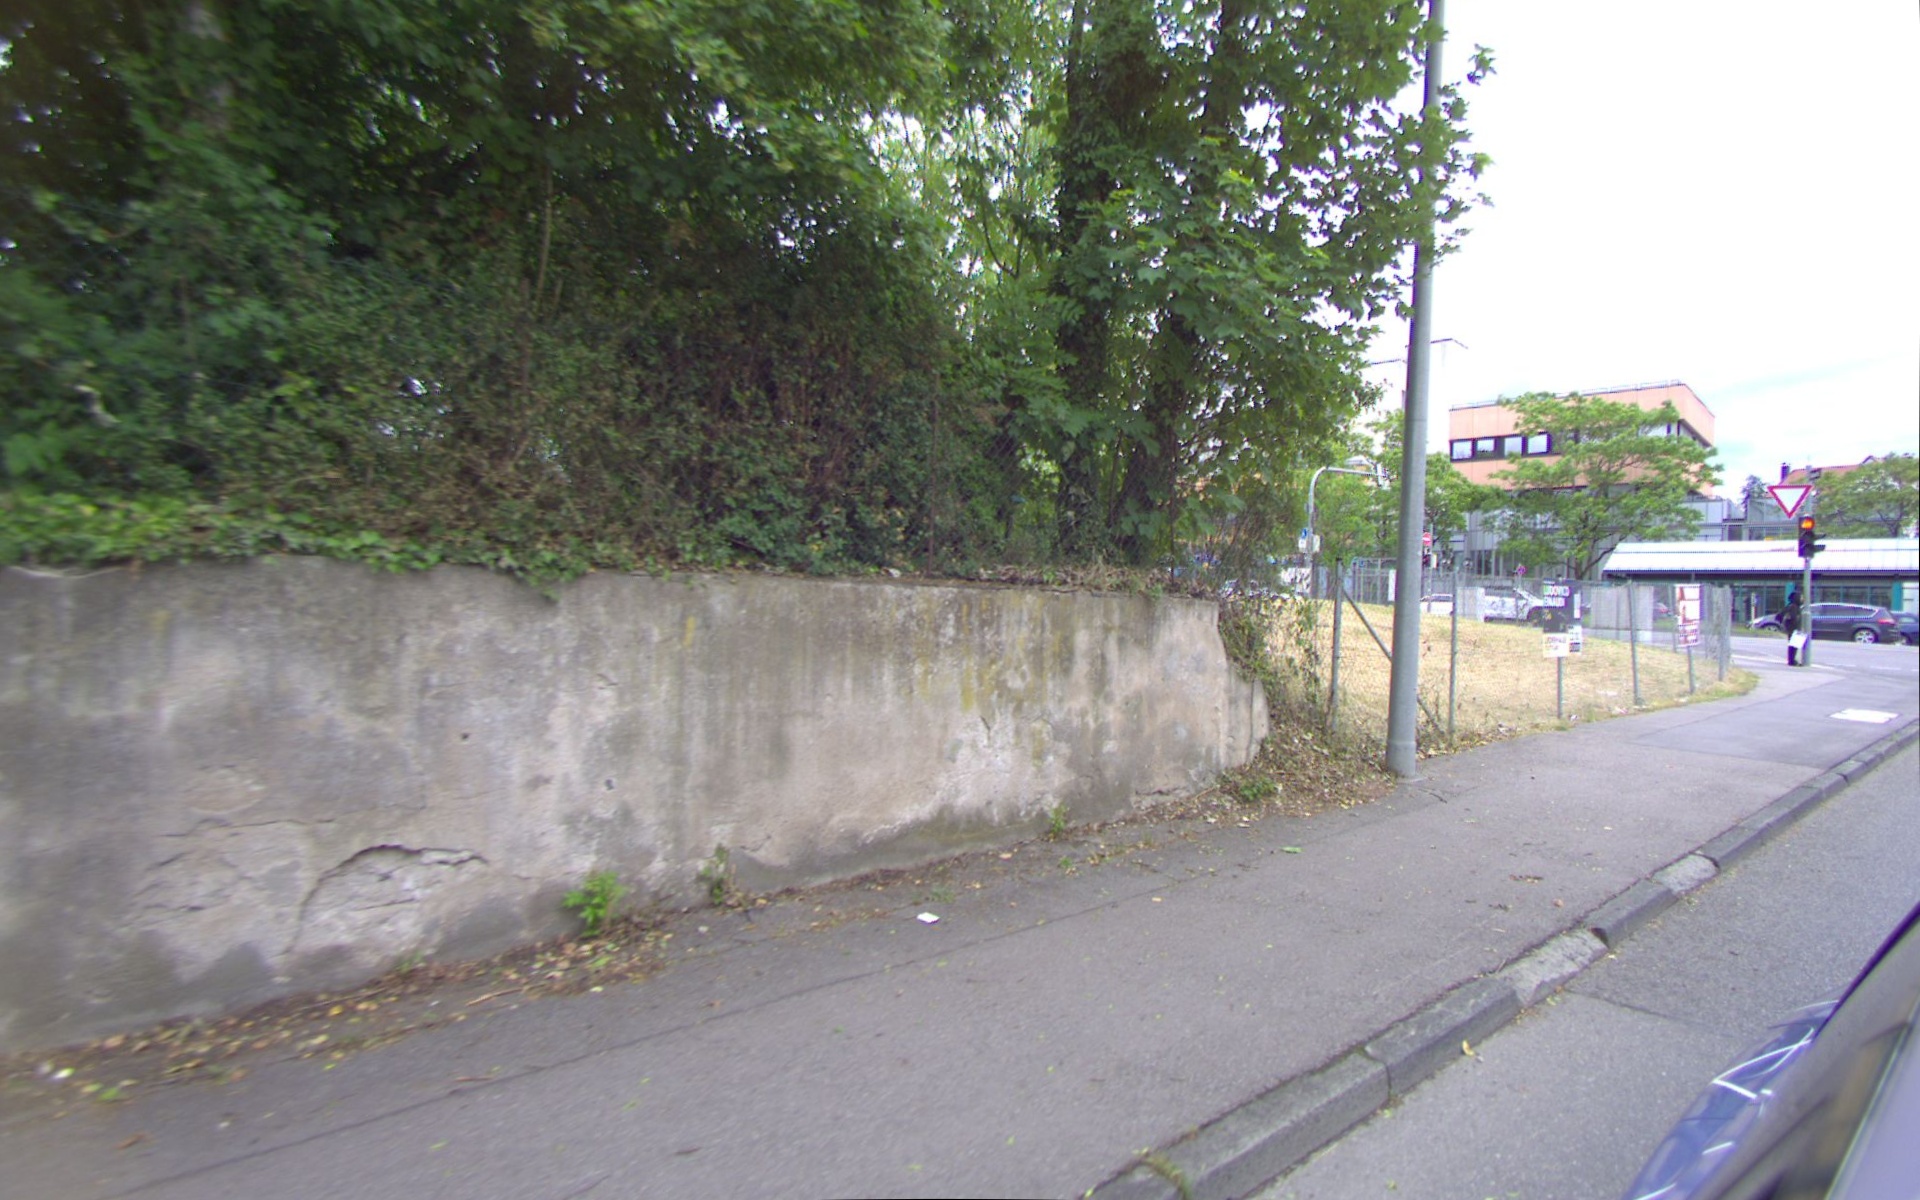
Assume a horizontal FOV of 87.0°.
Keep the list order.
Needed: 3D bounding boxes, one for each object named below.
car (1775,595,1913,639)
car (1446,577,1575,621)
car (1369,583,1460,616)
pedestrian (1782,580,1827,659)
[{"bbox_3d":[34.564,0.623,39.630,3.989,1.515,1.602,2,2,45],"label":"car"},{"bbox_3d":[21.403,-0.079,39.423,1.968,1.530,3.990,0,2,-45],"label":"car"},{"bbox_3d":[23.471,-0.048,52.306,1.603,1.397,3.932,0,4,-41],"label":"car"},{"bbox_3d":[17.774,0.397,21.297,0.661,1.610,0.552,0,3,-43],"label":"pedestrian"}]
